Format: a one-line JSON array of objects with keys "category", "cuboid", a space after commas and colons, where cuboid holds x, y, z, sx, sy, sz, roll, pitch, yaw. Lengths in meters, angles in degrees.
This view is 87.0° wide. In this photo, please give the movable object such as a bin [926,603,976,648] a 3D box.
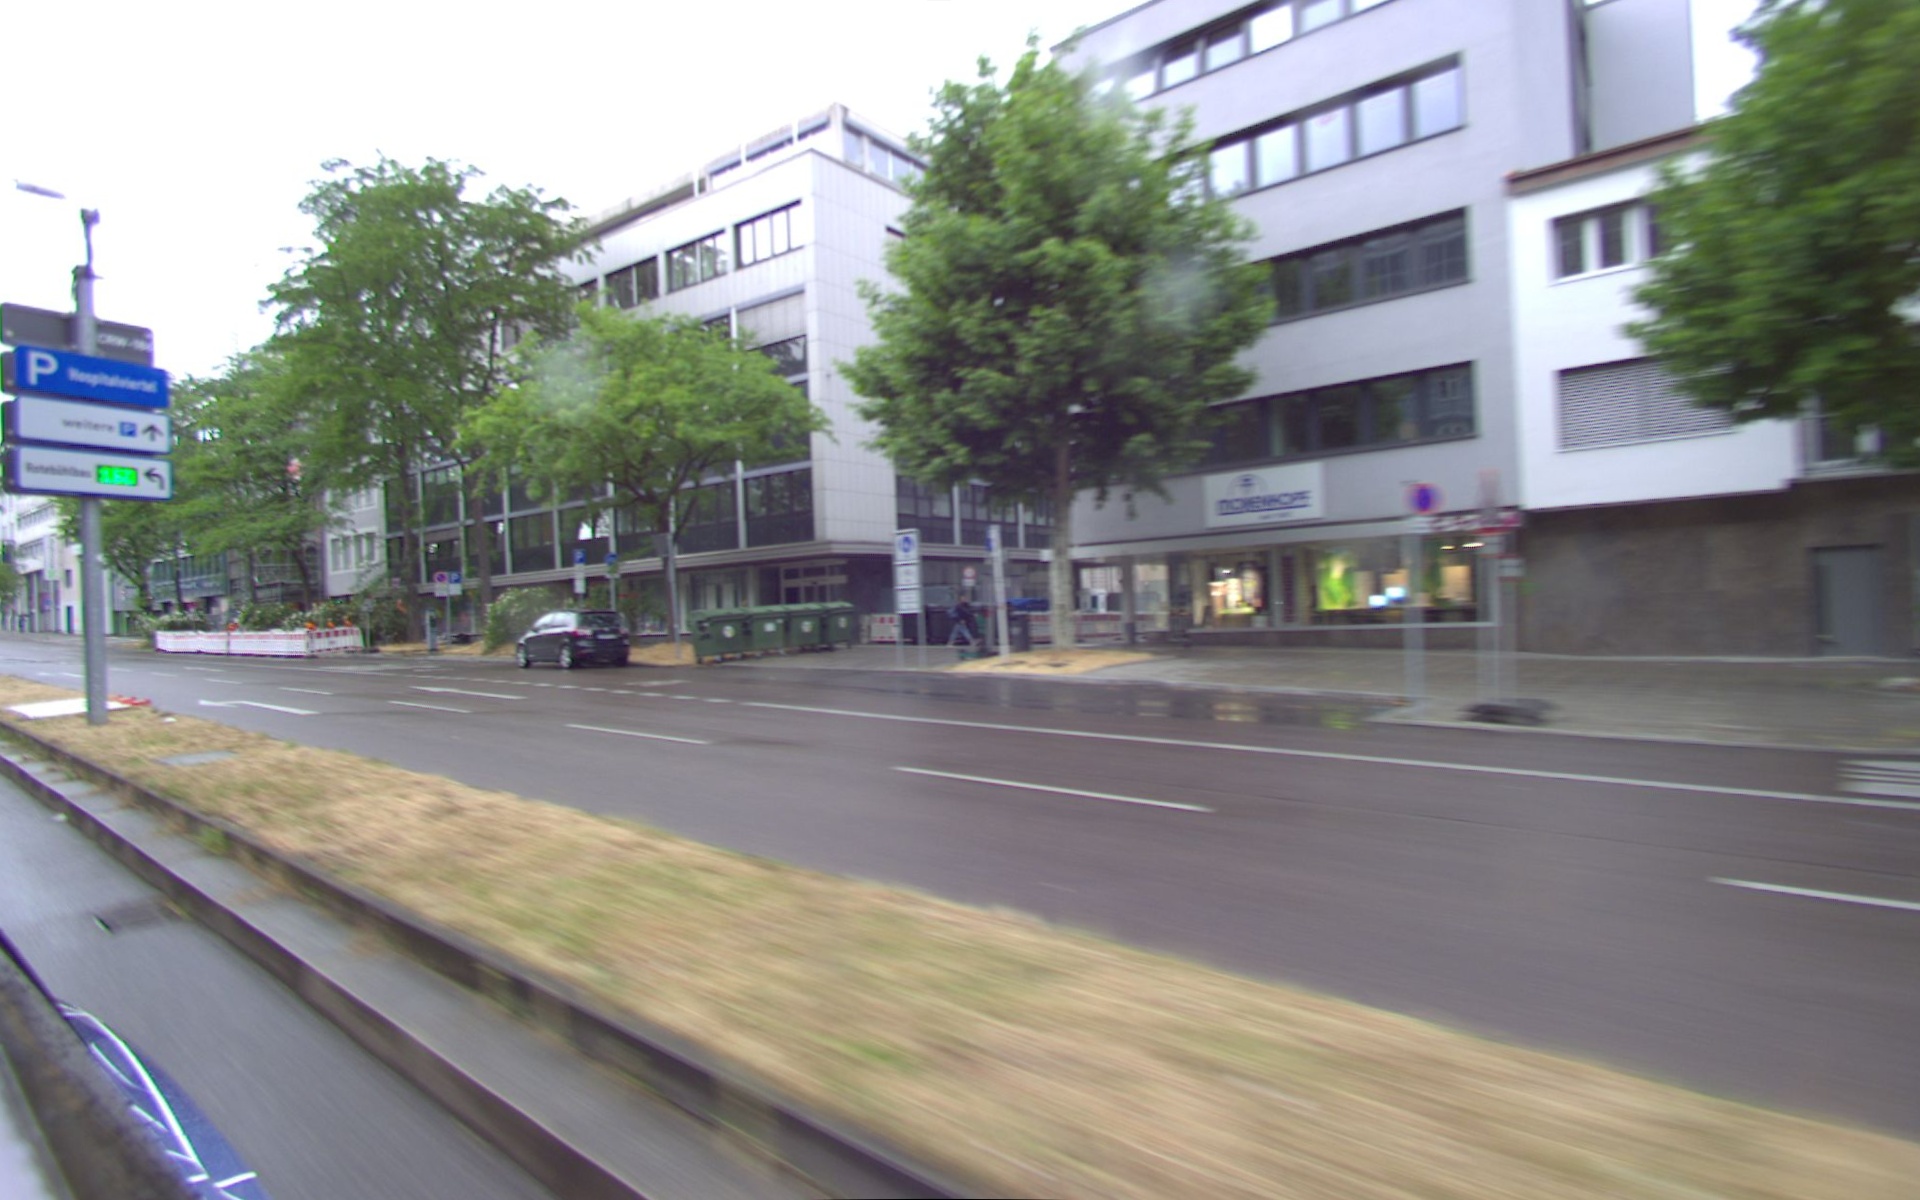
[{"category": "movable object such as a bin", "cuboid": [-0.286, 0.853, 33.863, 1.278, 1.446, 1.077, -1, -1, 32]}]

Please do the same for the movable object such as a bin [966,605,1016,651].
[{"category": "movable object such as a bin", "cuboid": [1.016, 0.914, 33.267, 1.278, 1.446, 1.077, -1, -1, 32]}]

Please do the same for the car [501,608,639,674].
[{"category": "car", "cuboid": [-10.729, 1.093, 27.722, 4.019, 1.648, 1.761, -2, -1, 39]}]

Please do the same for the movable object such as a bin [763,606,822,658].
[{"category": "movable object such as a bin", "cuboid": [-4.837, 0.915, 29.272, 1.088, 1.437, 1.265, -2, -1, 41]}]

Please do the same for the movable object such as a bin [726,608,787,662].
[{"category": "movable object such as a bin", "cuboid": [-5.677, 0.958, 28.230, 1.088, 1.437, 1.265, -2, -1, 41]}]

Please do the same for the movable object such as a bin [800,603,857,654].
[{"category": "movable object such as a bin", "cuboid": [-3.944, 0.841, 30.323, 1.088, 1.499, 1.265, -2, -1, 41]}]

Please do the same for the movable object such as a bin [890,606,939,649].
[{"category": "movable object such as a bin", "cuboid": [-1.570, 0.938, 34.722, 1.278, 1.446, 1.077, -1, -1, 32]}]

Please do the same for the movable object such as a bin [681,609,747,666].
[{"category": "movable object such as a bin", "cuboid": [-6.591, 0.989, 27.140, 1.088, 1.437, 1.345, -2, -1, 41]}]

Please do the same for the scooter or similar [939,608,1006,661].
[{"category": "scooter or similar", "cuboid": [0.297, 0.818, 23.964, 1.323, 1.130, 0.767, -5, -1, 42]}]

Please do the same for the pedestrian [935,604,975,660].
[{"category": "pedestrian", "cuboid": [-0.141, 1.005, 31.813, 0.895, 1.701, 0.861, -2, -1, 37]}]
